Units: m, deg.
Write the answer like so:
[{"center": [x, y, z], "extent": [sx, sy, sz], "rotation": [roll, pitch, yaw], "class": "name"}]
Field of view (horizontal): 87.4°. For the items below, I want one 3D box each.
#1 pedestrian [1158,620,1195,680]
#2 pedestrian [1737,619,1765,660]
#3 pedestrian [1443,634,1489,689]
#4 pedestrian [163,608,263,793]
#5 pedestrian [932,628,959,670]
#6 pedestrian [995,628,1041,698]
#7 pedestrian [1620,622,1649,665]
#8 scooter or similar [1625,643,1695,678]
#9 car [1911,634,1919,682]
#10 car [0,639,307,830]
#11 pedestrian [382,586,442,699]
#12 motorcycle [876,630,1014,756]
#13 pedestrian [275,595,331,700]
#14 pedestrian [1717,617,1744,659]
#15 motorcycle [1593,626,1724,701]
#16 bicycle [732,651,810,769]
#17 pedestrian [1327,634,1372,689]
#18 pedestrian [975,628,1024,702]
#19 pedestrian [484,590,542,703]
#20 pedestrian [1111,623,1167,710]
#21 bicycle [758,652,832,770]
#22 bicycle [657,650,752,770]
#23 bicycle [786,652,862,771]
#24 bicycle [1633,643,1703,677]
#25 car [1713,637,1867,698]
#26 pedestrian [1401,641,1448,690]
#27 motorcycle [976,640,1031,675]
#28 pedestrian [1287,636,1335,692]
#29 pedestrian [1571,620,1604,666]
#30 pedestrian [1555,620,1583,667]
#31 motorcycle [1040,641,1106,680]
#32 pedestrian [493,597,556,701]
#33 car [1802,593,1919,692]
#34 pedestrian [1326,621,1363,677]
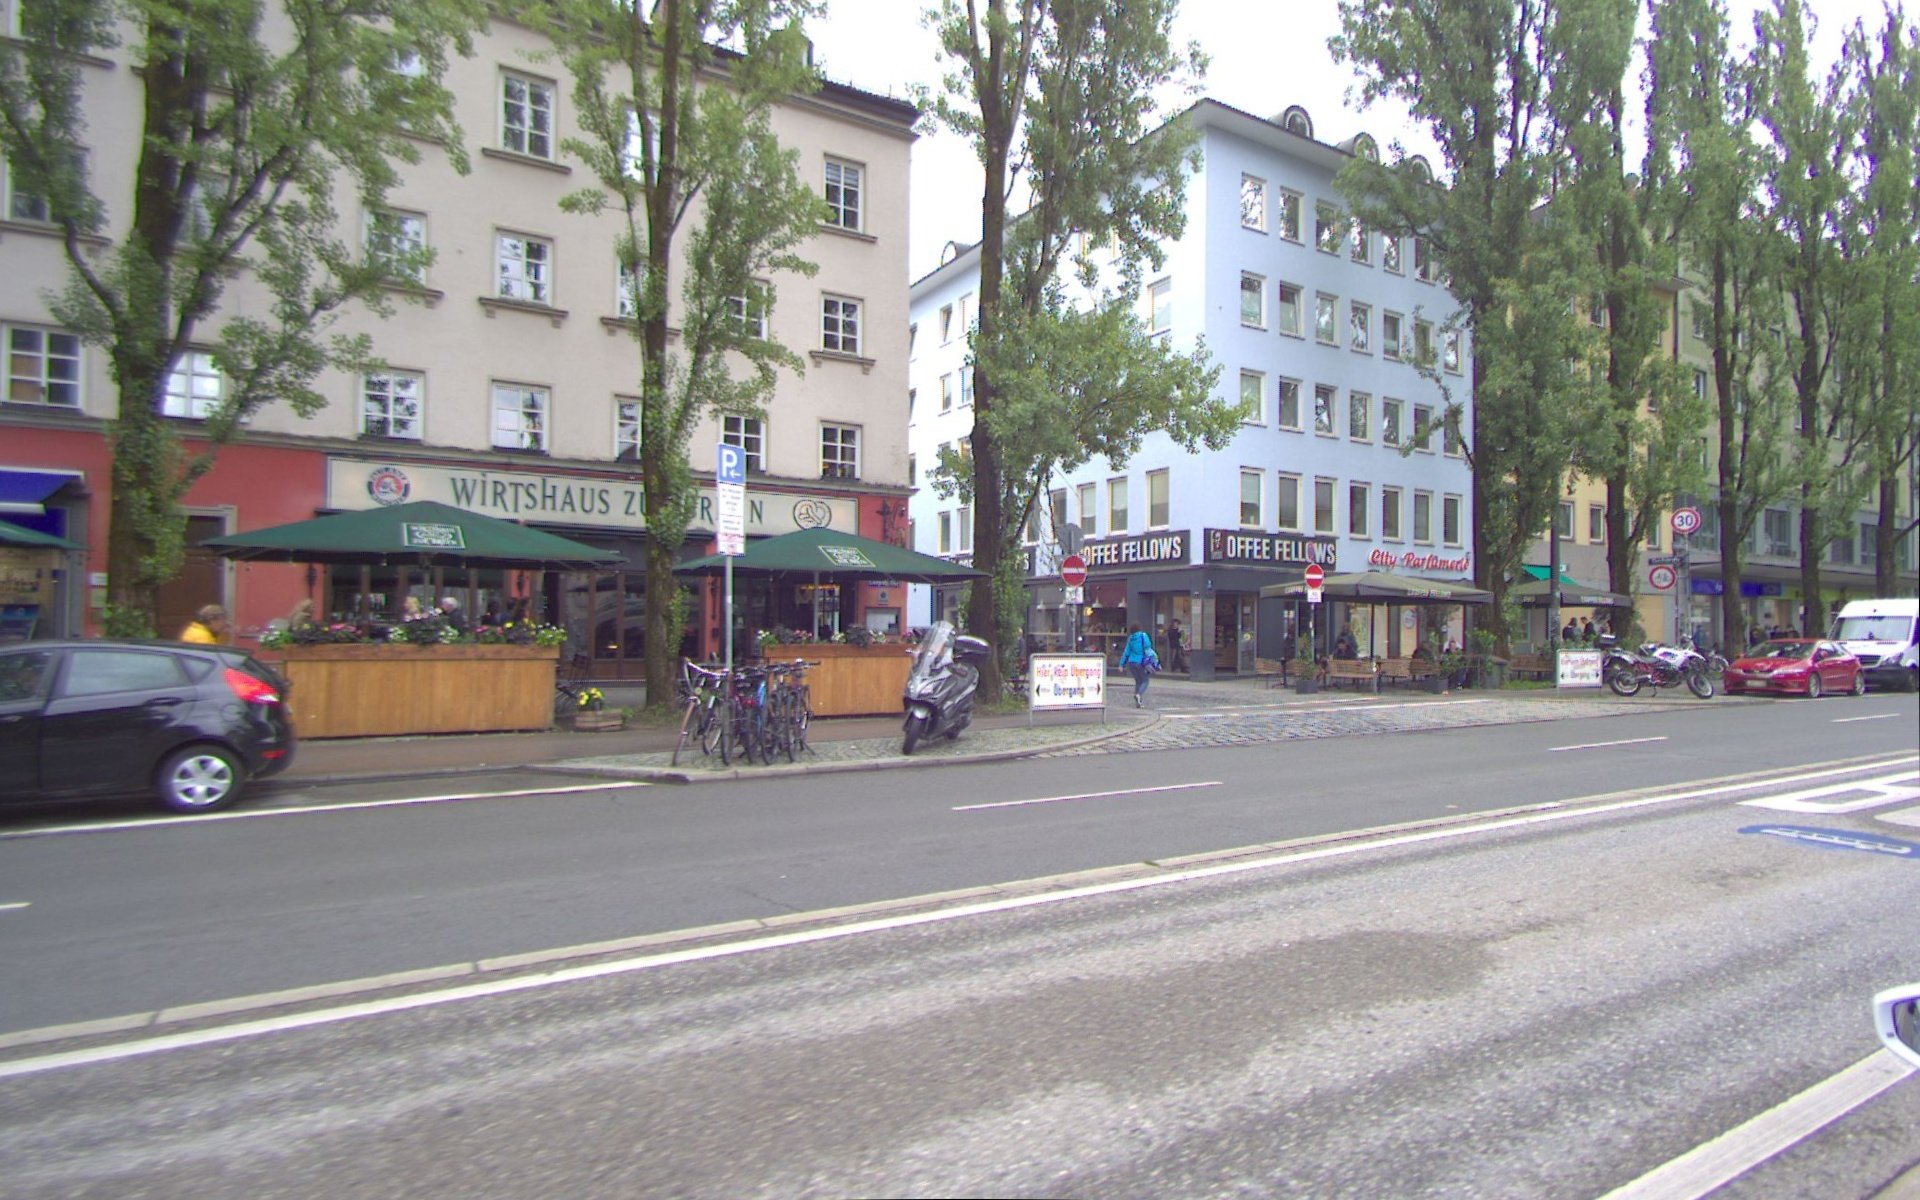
[{"center": [6.637, 1.530, 30.777], "extent": [0.933, 1.796, 0.699], "rotation": [-1, -2, 29], "class": "pedestrian"}, {"center": [34.105, 1.703, 43.304], "extent": [0.717, 1.722, 0.695], "rotation": [1, -1, -26], "class": "pedestrian"}, {"center": [12.855, 1.548, 25.533], "extent": [0.838, 1.380, 0.694], "rotation": [1, -2, -31], "class": "pedestrian"}, {"center": [-7.434, 0.969, 10.032], "extent": [0.724, 1.749, 0.694], "rotation": [1, -2, -33], "class": "pedestrian"}, {"center": [-0.583, 1.957, 40.155], "extent": [0.693, 1.668, 0.859], "rotation": [1, -2, -34], "class": "pedestrian"}, {"center": [1.413, 1.530, 24.487], "extent": [0.916, 1.668, 0.696], "rotation": [1, -2, -25], "class": "pedestrian"}, {"center": [26.698, 1.716, 39.745], "extent": [0.718, 1.657, 0.695], "rotation": [1, -1, -28], "class": "pedestrian"}, {"center": [21.851, 1.864, 31.395], "extent": [0.417, 1.040, 1.763], "rotation": [1, -2, -32], "class": "scooter or similar"}, {"center": [33.086, 1.871, 32.763], "extent": [4.363, 1.572, 1.858], "rotation": [1, -3, -31], "class": "car"}, {"center": [-7.694, 1.050, 8.370], "extent": [3.745, 1.441, 1.745], "rotation": [1, -3, -34], "class": "car"}, {"center": [-9.731, 0.749, 17.866], "extent": [0.894, 1.952, 0.695], "rotation": [1, -1, -28], "class": "pedestrian"}, {"center": [-0.125, 1.103, 12.756], "extent": [0.732, 1.433, 2.453], "rotation": [0, -2, 26], "class": "motorcycle"}, {"center": [-10.662, 0.765, 16.318], "extent": [0.724, 1.645, 0.694], "rotation": [1, -2, -32], "class": "pedestrian"}, {"center": [33.735, 1.654, 43.989], "extent": [0.717, 1.818, 0.695], "rotation": [1, -1, -26], "class": "pedestrian"}, {"center": [15.638, 1.396, 22.550], "extent": [2.301, 1.584, 0.715], "rotation": [1, 0, 18], "class": "motorcycle"}, {"center": [-2.126, 1.199, 11.507], "extent": [0.277, 1.140, 1.983], "rotation": [2, 0, 6], "class": "bicycle"}, {"center": [9.956, 1.563, 25.681], "extent": [0.808, 1.380, 0.695], "rotation": [1, -2, -28], "class": "pedestrian"}, {"center": [0.908, 1.480, 23.182], "extent": [0.916, 1.668, 0.696], "rotation": [1, -2, -25], "class": "pedestrian"}, {"center": [-7.994, 0.824, 17.976], "extent": [0.894, 1.952, 0.695], "rotation": [1, -1, -28], "class": "pedestrian"}, {"center": [3.539, 1.297, 19.888], "extent": [0.690, 1.668, 0.945], "rotation": [-1, -2, 44], "class": "pedestrian"}, {"center": [-1.851, 1.208, 11.474], "extent": [0.277, 1.140, 1.983], "rotation": [2, 0, 6], "class": "bicycle"}, {"center": [-2.861, 1.188, 11.413], "extent": [0.335, 1.140, 1.983], "rotation": [2, 0, 6], "class": "bicycle"}, {"center": [-1.517, 1.211, 11.458], "extent": [0.353, 1.140, 1.983], "rotation": [2, 0, 6], "class": "bicycle"}, {"center": [22.365, 1.881, 31.765], "extent": [0.417, 1.040, 1.763], "rotation": [1, -2, -32], "class": "bicycle"}, {"center": [21.189, 1.679, 25.631], "extent": [4.100, 1.438, 1.729], "rotation": [1, -3, -31], "class": "car"}, {"center": [11.575, 1.617, 25.052], "extent": [0.692, 1.198, 0.811], "rotation": [1, -2, -32], "class": "pedestrian"}, {"center": [1.597, 2.136, 37.727], "extent": [0.729, 1.219, 2.748], "rotation": [-1, -1, -29], "class": "motorcycle"}, {"center": [8.803, 1.589, 25.226], "extent": [0.938, 1.380, 0.695], "rotation": [1, -2, -28], "class": "pedestrian"}, {"center": [22.507, 1.536, 36.031], "extent": [0.713, 1.657, 0.699], "rotation": [0, -1, -6], "class": "pedestrian"}, {"center": [21.925, 1.560, 36.158], "extent": [0.553, 1.657, 0.699], "rotation": [0, -1, -6], "class": "pedestrian"}, {"center": [3.774, 2.017, 33.789], "extent": [0.729, 1.219, 2.748], "rotation": [-1, -1, -29], "class": "motorcycle"}, {"center": [-7.528, 0.834, 17.361], "extent": [0.938, 1.745, 0.695], "rotation": [1, -1, -28], "class": "pedestrian"}, {"center": [27.113, 1.227, 29.090], "extent": [6.831, 2.601, 1.996], "rotation": [1, -3, -31], "class": "car"}, {"center": [11.913, 1.522, 31.156], "extent": [0.775, 1.708, 0.753], "rotation": [1, -1, -27], "class": "pedestrian"}]
